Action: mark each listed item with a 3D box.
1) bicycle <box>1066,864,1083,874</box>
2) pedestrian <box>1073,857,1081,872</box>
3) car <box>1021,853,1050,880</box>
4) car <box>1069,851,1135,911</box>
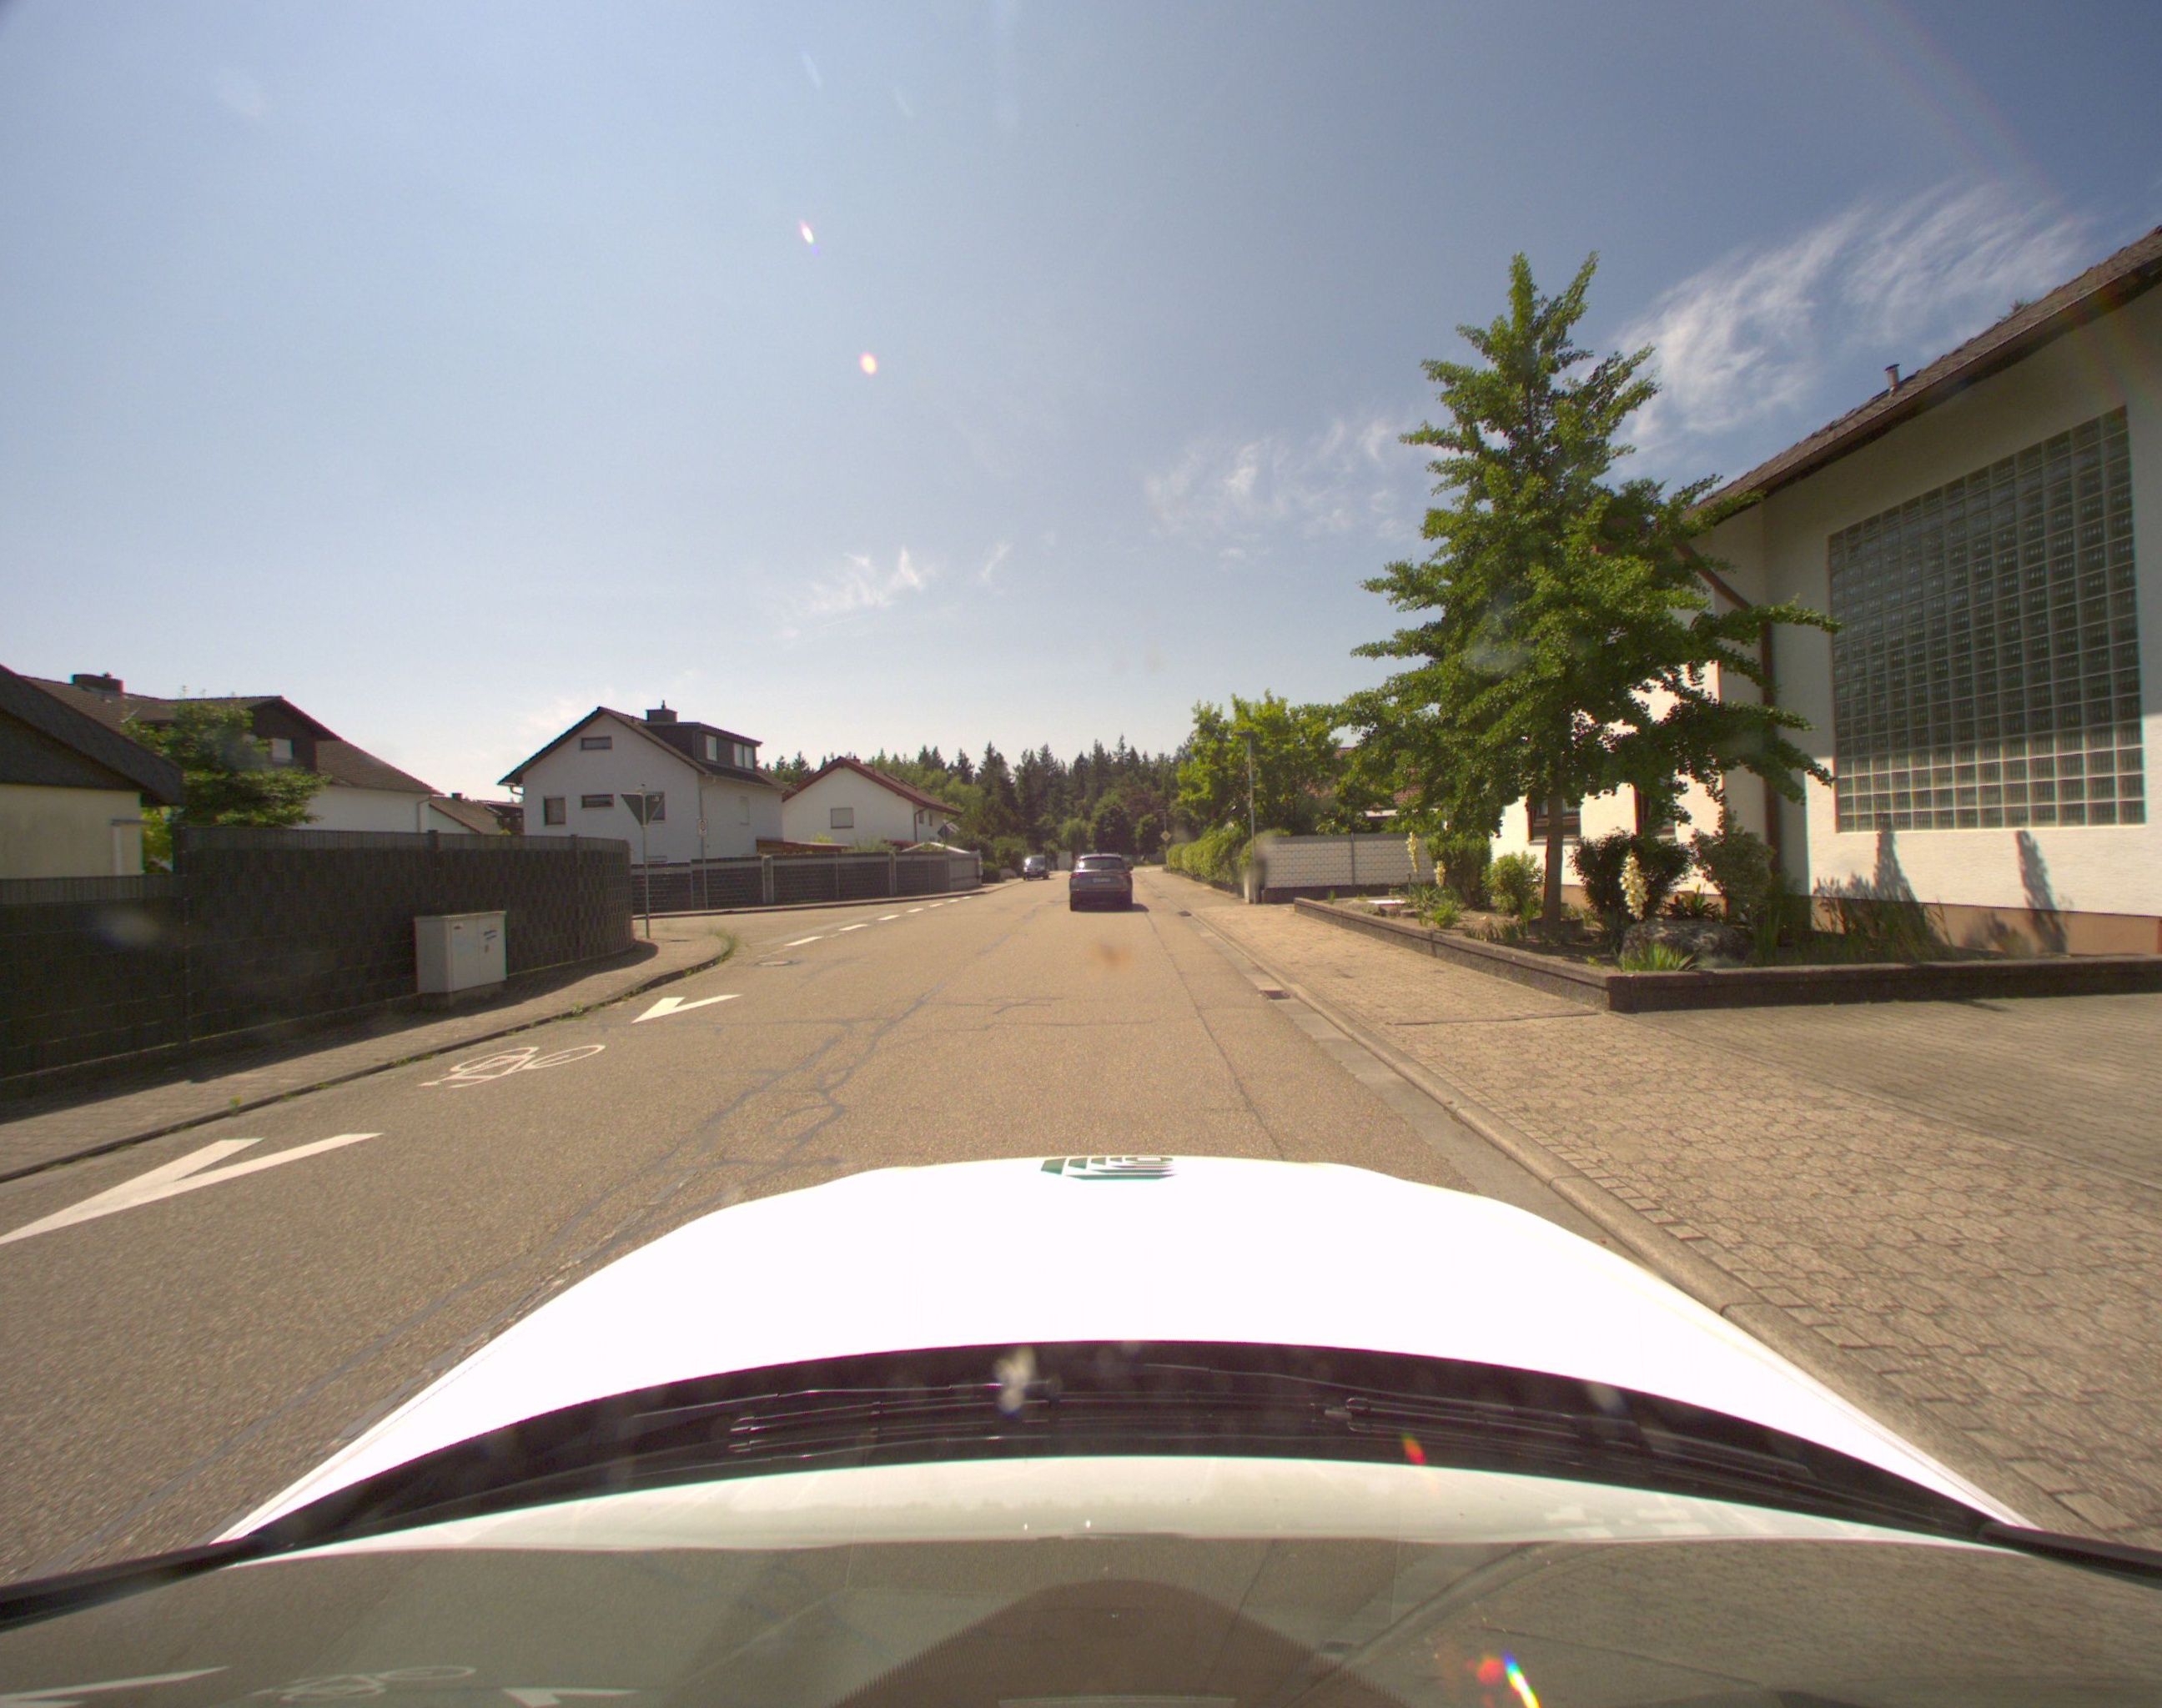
[{"bbox_3d":[-0.677,1.579,87.522,1.857,0.964,0.438,-2,0,-37],"label":"bicycle"},{"bbox_3d":[-0.442,1.135,87.121,0.614,1.501,0.499,-2,-1,-36],"label":"pedestrian"},{"bbox_3d":[-3.313,0.868,59.514,1.712,1.846,4.055,-2,0,1],"label":"car"},{"bbox_3d":[0.623,0.749,24.123,1.756,1.618,4.001,-1,0,1],"label":"car"}]
